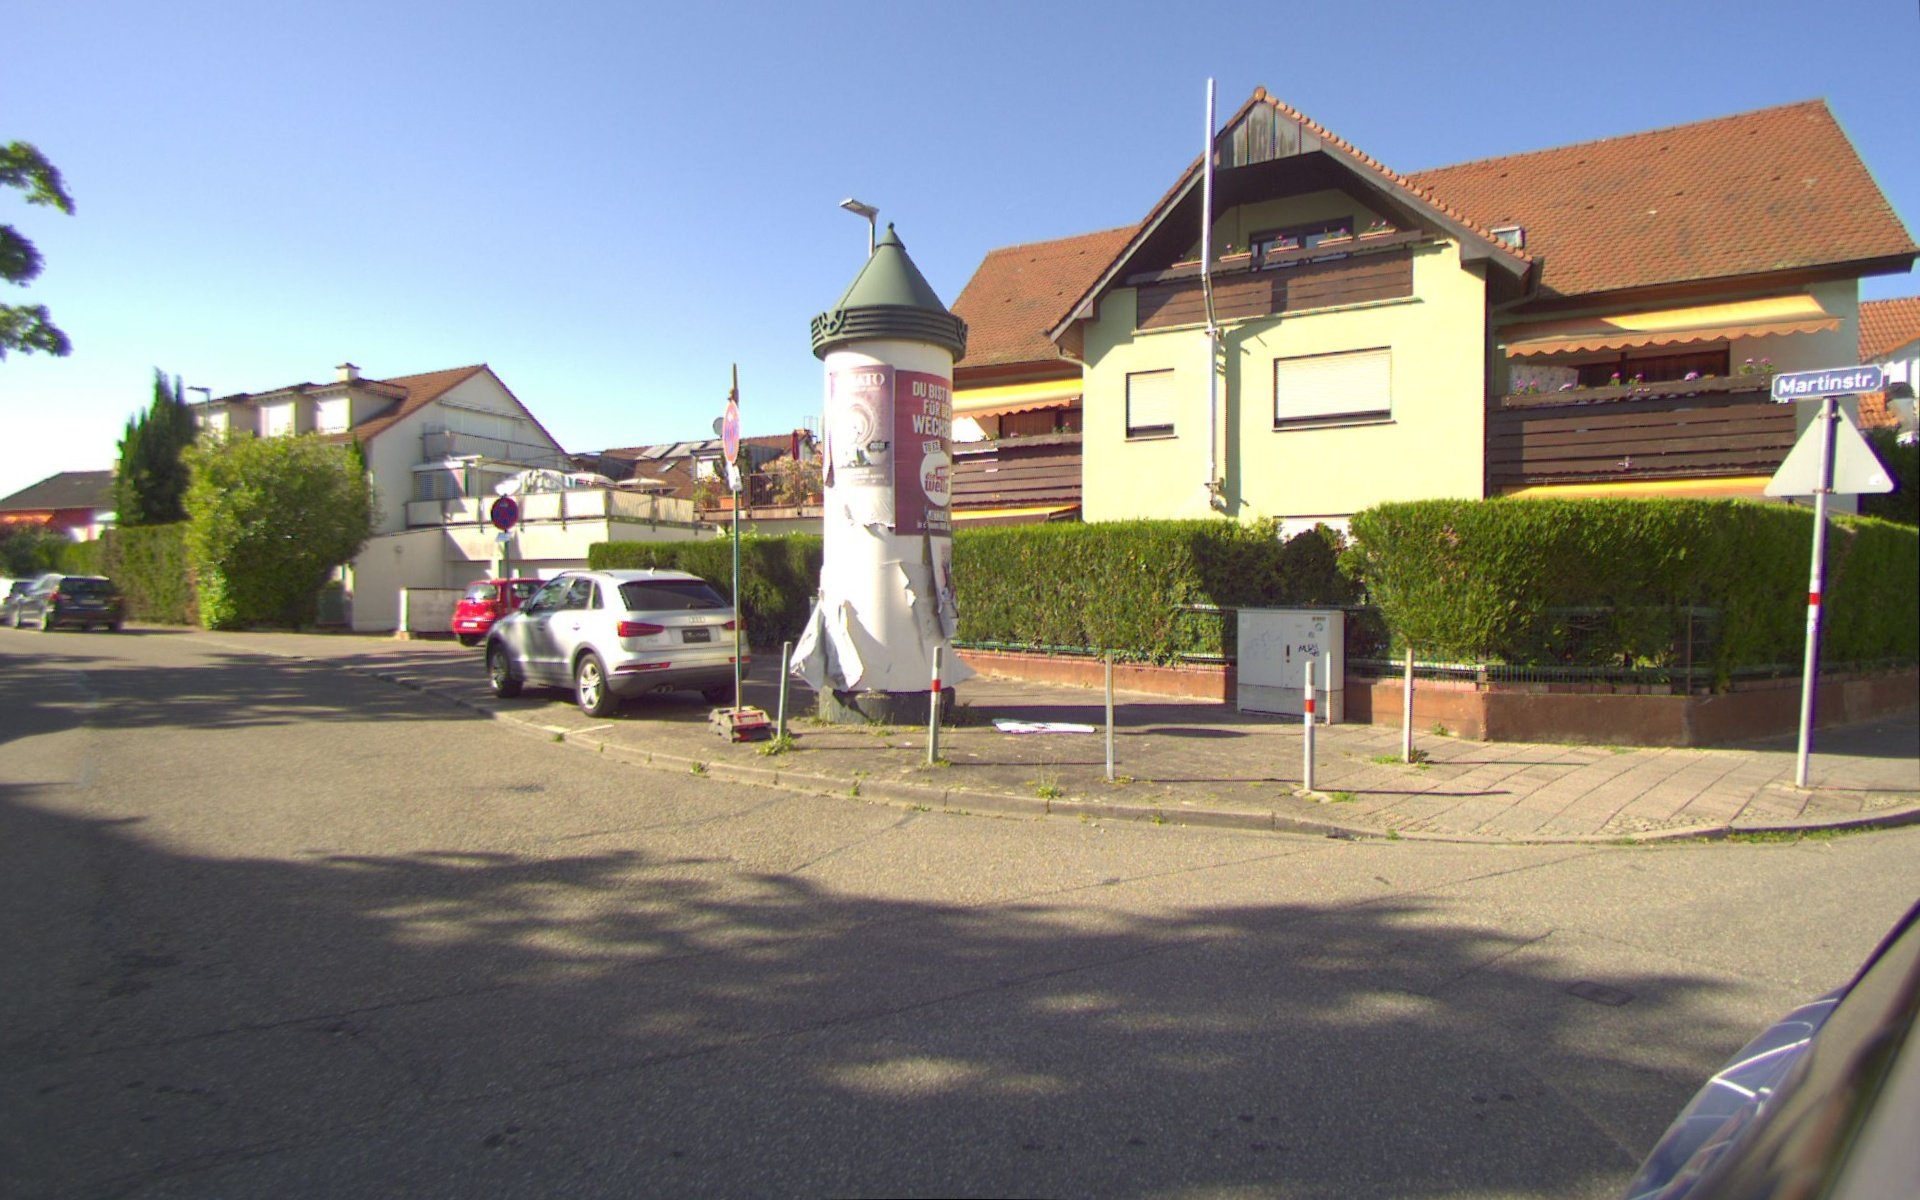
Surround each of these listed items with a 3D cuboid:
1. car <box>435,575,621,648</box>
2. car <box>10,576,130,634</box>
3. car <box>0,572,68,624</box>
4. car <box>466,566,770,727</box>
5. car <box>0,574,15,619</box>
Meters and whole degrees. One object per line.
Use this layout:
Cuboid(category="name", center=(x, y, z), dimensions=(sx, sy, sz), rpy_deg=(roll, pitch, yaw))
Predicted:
Cuboid(category="car", center=(-9.832, 0.199, 23.288), dimensions=(1.685, 1.518, 3.682), rpy_deg=(1, 2, 31))
Cuboid(category="car", center=(-25.205, 0.082, 28.642), dimensions=(3.697, 1.518, 1.678), rpy_deg=(1, 2, 34))
Cuboid(category="car", center=(-29.858, -0.103, 31.938), dimensions=(3.697, 1.518, 1.678), rpy_deg=(1, 2, 34))
Cuboid(category="car", center=(-4.284, 0.404, 12.311), dimensions=(4.292, 1.612, 1.786), rpy_deg=(2, 2, 45))
Cuboid(category="car", center=(-34.260, -0.139, 34.887), dimensions=(3.697, 1.518, 1.678), rpy_deg=(1, 2, 34))
